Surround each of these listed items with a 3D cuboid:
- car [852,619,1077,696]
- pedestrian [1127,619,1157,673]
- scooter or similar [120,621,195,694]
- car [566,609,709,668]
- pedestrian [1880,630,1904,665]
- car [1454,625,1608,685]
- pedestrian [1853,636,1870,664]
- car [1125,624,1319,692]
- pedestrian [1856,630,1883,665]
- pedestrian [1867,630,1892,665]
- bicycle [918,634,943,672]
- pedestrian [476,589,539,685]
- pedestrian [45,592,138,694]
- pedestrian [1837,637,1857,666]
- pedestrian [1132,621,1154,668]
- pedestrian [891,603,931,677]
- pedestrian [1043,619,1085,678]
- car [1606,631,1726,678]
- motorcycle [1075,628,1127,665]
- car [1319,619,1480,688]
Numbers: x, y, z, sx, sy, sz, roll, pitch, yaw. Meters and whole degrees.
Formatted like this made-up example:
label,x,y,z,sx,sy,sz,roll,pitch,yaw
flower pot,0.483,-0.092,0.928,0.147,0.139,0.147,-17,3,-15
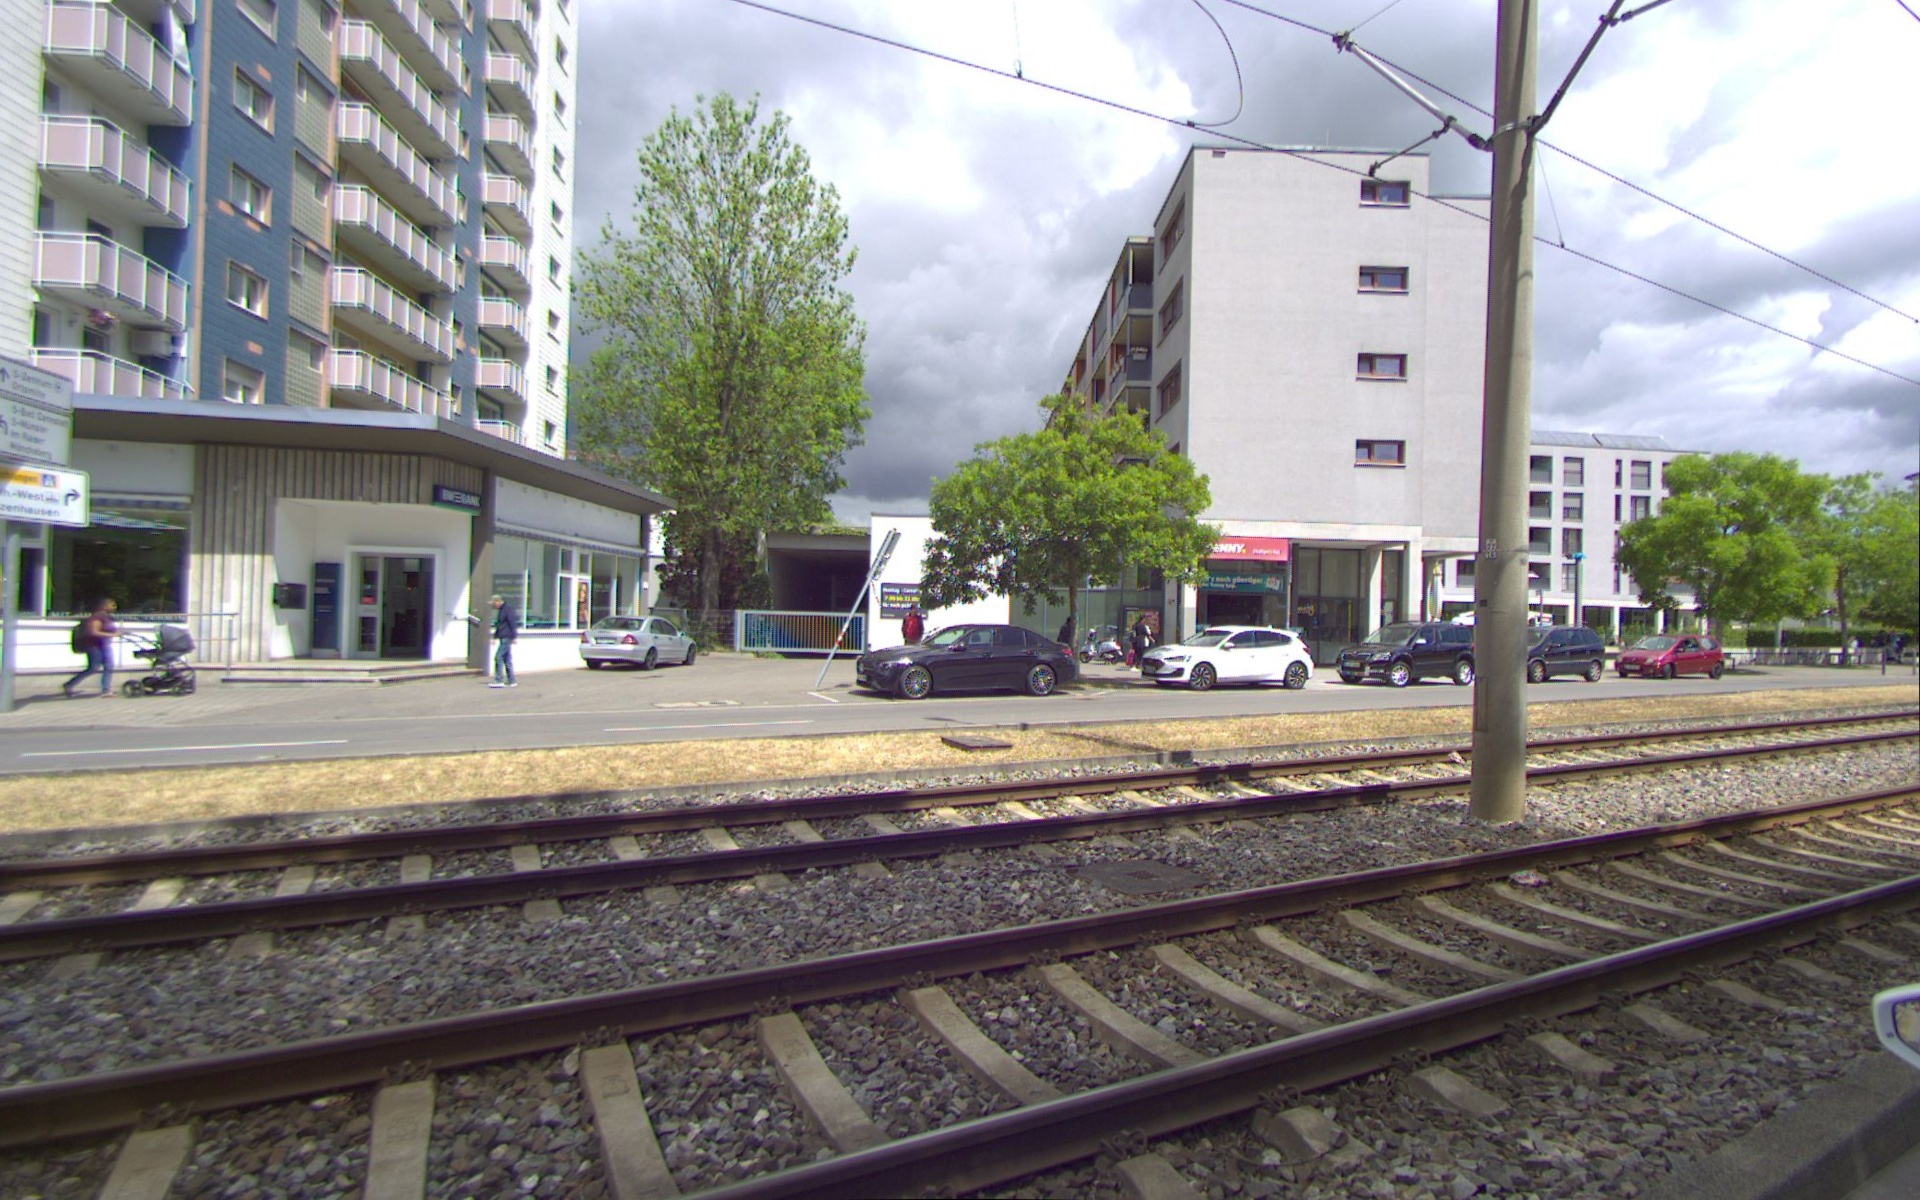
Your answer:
label,x,y,z,sx,sy,sz,roll,pitch,yaw
car,0.111,1.152,20.676,4.322,1.447,1.729,1,-2,-26
pedestrian,5.483,1.367,30.223,0.654,1.594,0.686,-1,-2,35
scooter or similar,-12.971,0.925,16.252,0.757,1.139,0.579,0,-3,-17
car,-8.512,1.035,26.982,1.959,1.461,4.359,-1,-2,8
pedestrian,43.302,2.213,46.654,0.550,1.594,0.621,0,-2,-22
car,16.864,1.573,29.667,4.044,1.669,1.988,1,-2,-25
pedestrian,41.081,2.264,45.771,0.493,1.283,0.498,-2,-2,39
car,6.290,1.346,24.106,4.337,1.494,1.751,1,-2,-23
pedestrian,41.752,2.181,46.107,0.686,1.594,0.622,0,-2,-16
pedestrian,42.392,2.178,46.329,0.549,1.594,0.622,0,-2,-16
bicycle,-0.984,1.771,34.024,0.656,1.228,1.974,0,-2,4
pedestrian,-8.813,0.716,19.577,0.832,1.816,0.868,-2,-2,44
pedestrian,-13.797,0.680,15.981,0.970,1.592,0.513,0,-2,-18
pedestrian,47.222,2.742,53.458,0.519,1.568,0.545,0,-2,-7
pedestrian,5.717,1.388,31.385,0.491,1.479,0.559,-1,-2,35
pedestrian,-1.222,0.992,25.117,0.833,1.816,0.609,1,-2,-29
pedestrian,2.769,1.286,26.862,0.957,1.554,0.601,0,-2,-16
car,23.027,1.753,32.754,3.372,1.445,1.611,0,-2,-22
motorcycle,4.706,1.542,33.733,0.733,1.194,1.883,1,-2,-30
car,11.788,1.368,26.919,4.051,1.685,1.984,1,0,-30
